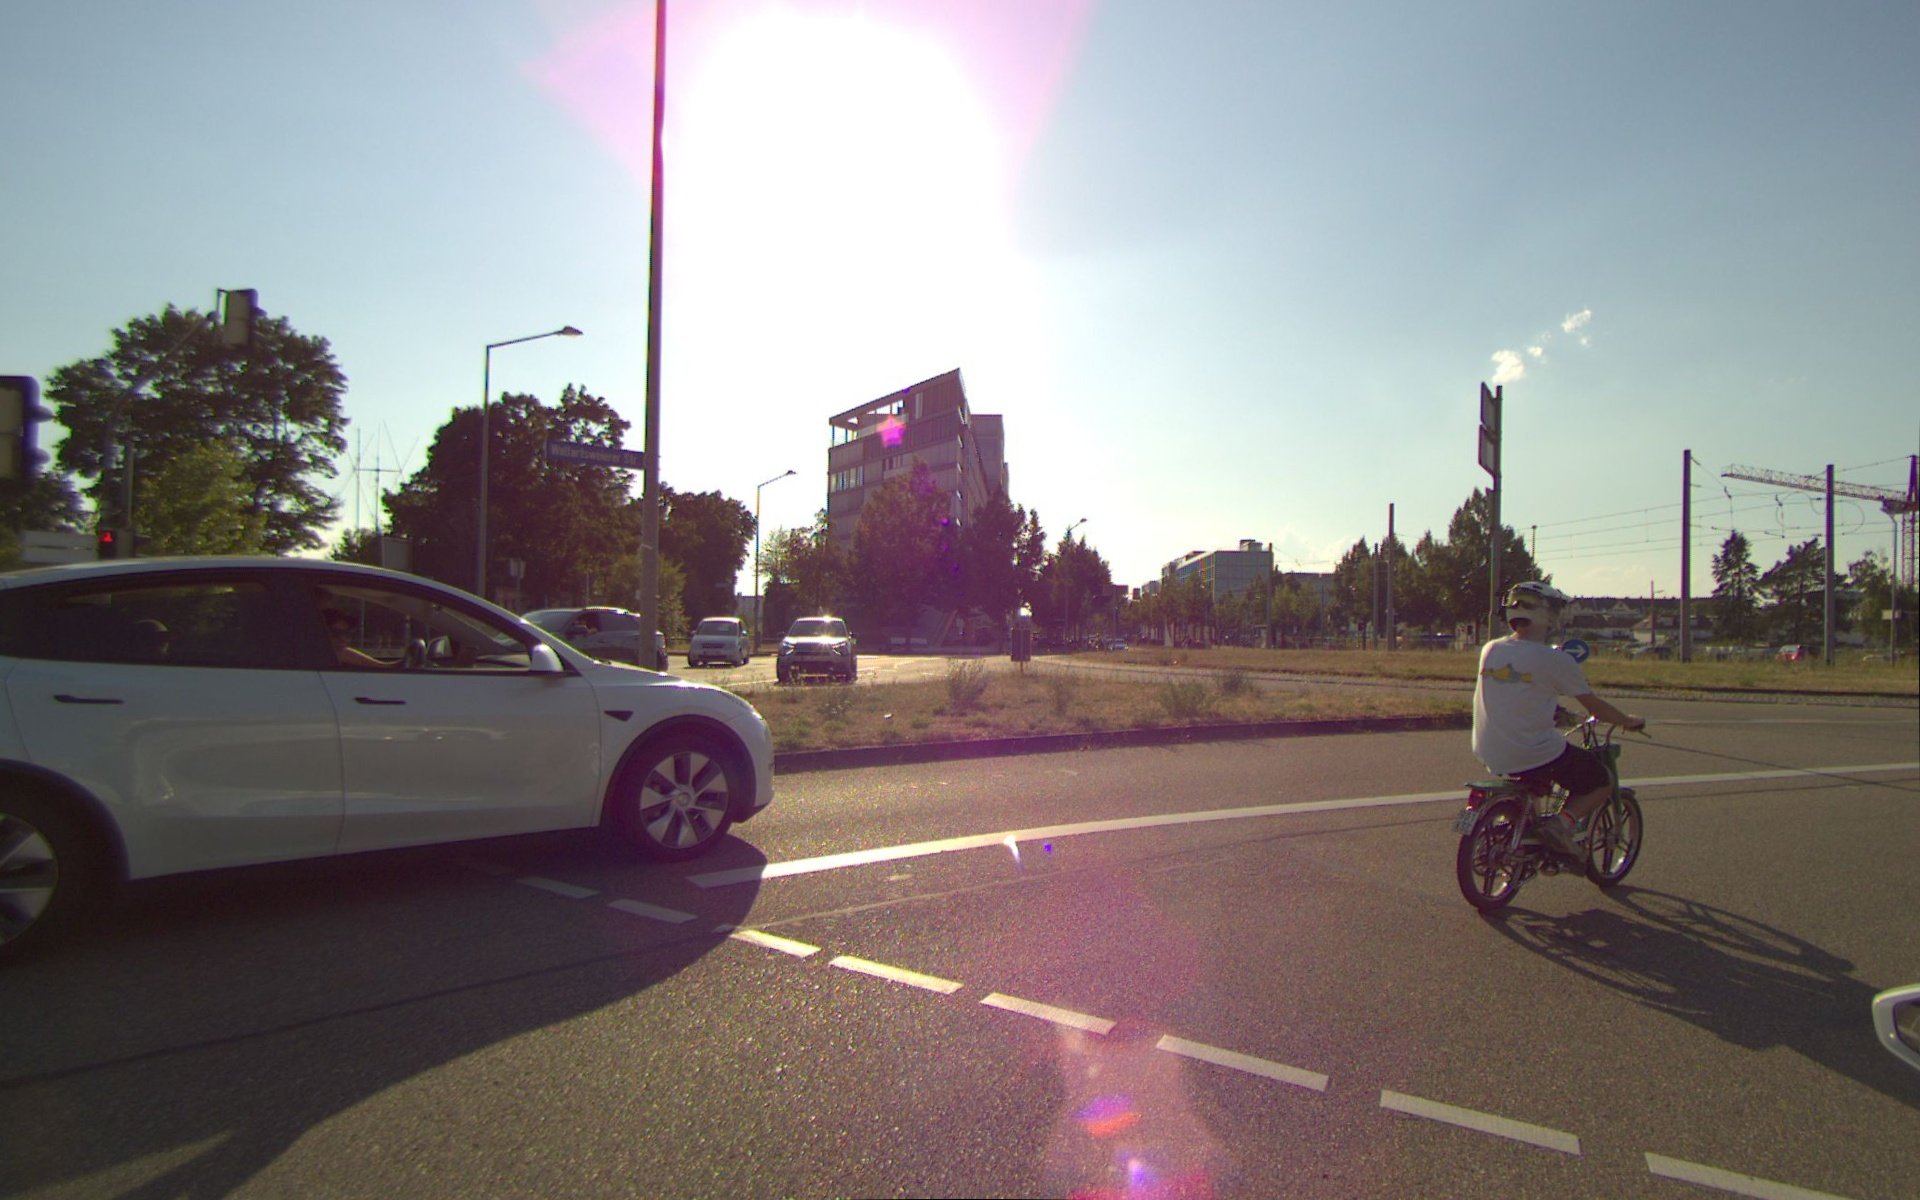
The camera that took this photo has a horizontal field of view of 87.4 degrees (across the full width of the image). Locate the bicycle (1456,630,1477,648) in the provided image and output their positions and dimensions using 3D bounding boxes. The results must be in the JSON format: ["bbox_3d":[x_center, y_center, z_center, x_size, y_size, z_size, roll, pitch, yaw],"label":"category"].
[{"bbox_3d":[42.708,3.305,84.697,1.516,1.493,0.479,0,-2,30],"label":"bicycle"}]

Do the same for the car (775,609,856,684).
[{"bbox_3d":[-3.522,1.121,25.029,1.743,1.695,4.197,1,-1,-5],"label":"car"}]

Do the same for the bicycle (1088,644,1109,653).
[{"bbox_3d":[11.536,4.027,83.849,1.687,0.754,0.481,1,-1,3],"label":"bicycle"}]

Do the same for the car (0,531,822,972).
[{"bbox_3d":[-3.145,0.586,5.190,4.643,1.620,1.719,2,-1,-42],"label":"car"}]

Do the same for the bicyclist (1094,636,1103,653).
[{"bbox_3d":[11.570,3.725,83.877,0.641,1.343,0.519,1,-1,4],"label":"bicyclist"}]

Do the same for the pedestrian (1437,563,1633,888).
[{"bbox_3d":[3.035,0.609,5.295,0.847,1.539,0.650,2,-2,-40],"label":"pedestrian"}]

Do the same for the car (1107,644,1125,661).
[{"bbox_3d":[14.460,4.851,93.278,1.454,1.495,3.302,1,-2,7],"label":"car"}]

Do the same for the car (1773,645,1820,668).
[{"bbox_3d":[71.960,4.817,86.504,1.888,1.878,4.000,0,-2,20],"label":"car"}]

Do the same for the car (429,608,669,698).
[{"bbox_3d":[-7.784,0.992,19.595,1.620,1.532,4.645,0,-2,20],"label":"car"}]

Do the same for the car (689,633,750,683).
[{"bbox_3d":[-8.177,1.941,34.425,1.626,1.545,3.939,1,-2,-8],"label":"car"}]

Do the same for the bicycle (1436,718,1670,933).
[{"bbox_3d":[3.238,1.130,5.406,1.840,0.887,0.474,3,-2,-39],"label":"bicycle"}]

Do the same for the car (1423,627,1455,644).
[{"bbox_3d":[61.889,4.580,129.729,1.962,2.040,3.997,1,-2,-6],"label":"car"}]

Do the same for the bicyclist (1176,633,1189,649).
[{"bbox_3d":[19.351,3.566,87.457,0.939,1.375,0.693,1,-1,-6],"label":"bicyclist"}]

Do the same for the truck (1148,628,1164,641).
[{"bbox_3d":[49.818,8.853,255.853,3.074,3.273,7.178,1,-2,4],"label":"truck"}]

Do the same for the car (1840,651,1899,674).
[{"bbox_3d":[85.621,5.870,94.630,1.647,2.040,3.803,2,-2,-21],"label":"car"}]

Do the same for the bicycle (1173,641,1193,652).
[{"bbox_3d":[19.411,4.058,87.435,1.590,0.871,0.544,1,-1,-8],"label":"bicycle"}]

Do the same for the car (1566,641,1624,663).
[{"bbox_3d":[54.966,4.495,87.021,3.920,1.840,2.001,0,-1,18],"label":"car"}]

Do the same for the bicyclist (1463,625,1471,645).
[{"bbox_3d":[42.737,2.944,84.708,0.598,1.694,0.477,1,-2,30],"label":"bicyclist"}]
